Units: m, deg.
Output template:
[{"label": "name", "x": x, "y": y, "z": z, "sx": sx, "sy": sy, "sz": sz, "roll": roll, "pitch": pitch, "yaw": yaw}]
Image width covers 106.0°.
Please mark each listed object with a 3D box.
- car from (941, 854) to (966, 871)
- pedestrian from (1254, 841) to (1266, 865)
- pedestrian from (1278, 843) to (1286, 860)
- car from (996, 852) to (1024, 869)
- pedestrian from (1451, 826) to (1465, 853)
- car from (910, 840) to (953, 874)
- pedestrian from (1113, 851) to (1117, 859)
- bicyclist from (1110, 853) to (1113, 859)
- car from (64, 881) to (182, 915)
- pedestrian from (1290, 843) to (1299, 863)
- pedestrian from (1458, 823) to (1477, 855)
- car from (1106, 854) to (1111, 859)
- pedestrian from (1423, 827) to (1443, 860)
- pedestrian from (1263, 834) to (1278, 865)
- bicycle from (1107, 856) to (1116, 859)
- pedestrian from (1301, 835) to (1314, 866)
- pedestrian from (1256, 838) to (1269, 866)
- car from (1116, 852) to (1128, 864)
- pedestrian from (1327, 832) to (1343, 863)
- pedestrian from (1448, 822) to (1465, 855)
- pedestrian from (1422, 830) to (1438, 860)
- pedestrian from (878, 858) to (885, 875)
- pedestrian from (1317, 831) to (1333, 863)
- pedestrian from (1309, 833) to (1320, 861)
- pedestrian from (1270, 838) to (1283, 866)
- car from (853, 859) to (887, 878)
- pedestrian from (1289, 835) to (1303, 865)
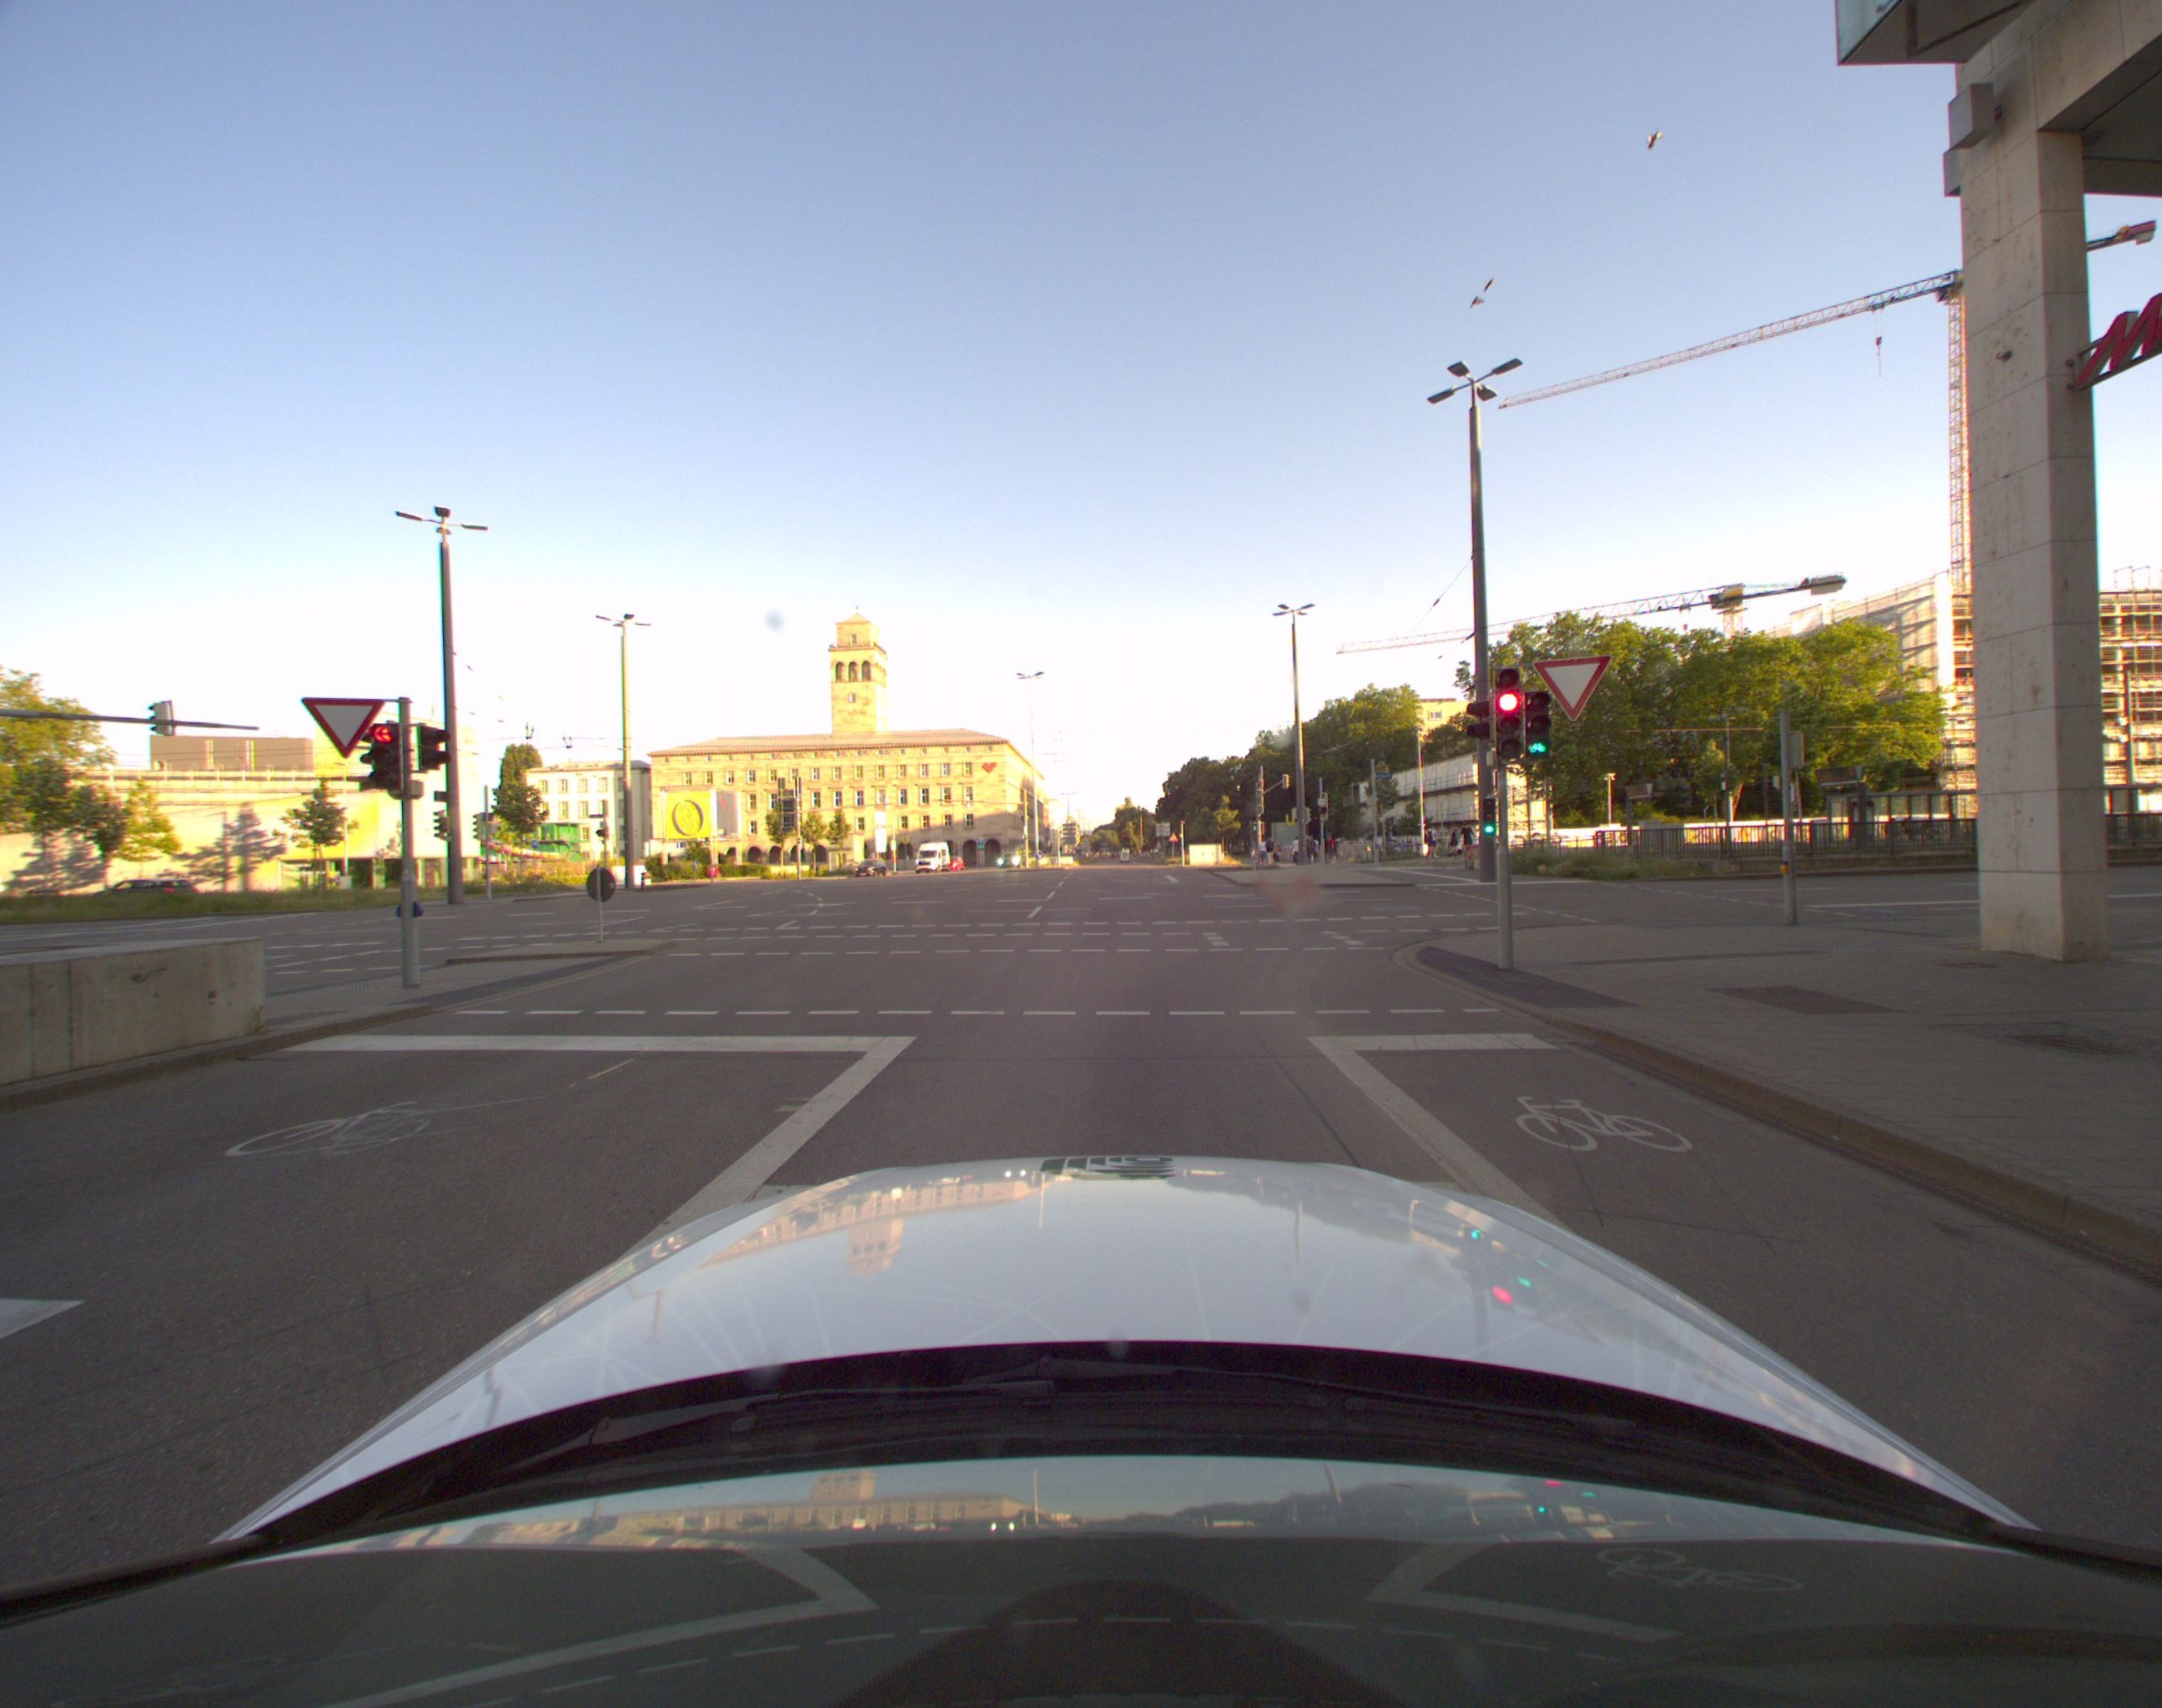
[{"label": "car", "x": -12.758, "y": 0.831, "z": 81.573, "sx": 1.732, "sy": 1.487, "sz": 4.002, "roll": -2, "pitch": 1, "yaw": 2}, {"label": "pedestrian", "x": 13.314, "y": -0.079, "z": 60.454, "sx": 0.673, "sy": 1.757, "sz": 0.907, "roll": -2, "pitch": 1, "yaw": 22}, {"label": "pedestrian", "x": 21.357, "y": -0.286, "z": 86.537, "sx": 0.662, "sy": 1.842, "sz": 0.714, "roll": -2, "pitch": 1, "yaw": 7}, {"label": "car", "x": -6.316, "y": 0.548, "z": 72.830, "sx": 1.815, "sy": 1.341, "sz": 4.005, "roll": -2, "pitch": 1, "yaw": 4}, {"label": "pedestrian", "x": 20.245, "y": -0.792, "z": 43.743, "sx": 0.670, "sy": 1.441, "sz": 0.718, "roll": -2, "pitch": 0, "yaw": 24}, {"label": "car", "x": -13.301, "y": 0.219, "z": 72.935, "sx": 2.269, "sy": 2.776, "sz": 6.090, "roll": -2, "pitch": 0, "yaw": 4}, {"label": "pedestrian", "x": 8.086, "y": 0.215, "z": 194.553, "sx": 0.903, "sy": 1.671, "sz": 1.307, "roll": -2, "pitch": 1, "yaw": 1}, {"label": "bicyclist", "x": 8.283, "y": 0.597, "z": 221.708, "sx": 0.832, "sy": 1.463, "sz": 0.657, "roll": -2, "pitch": 0, "yaw": -17}, {"label": "car", "x": -52.246, "y": 2.375, "z": 44.473, "sx": 4.112, "sy": 1.604, "sz": 1.742, "roll": -2, "pitch": 0, "yaw": -4}, {"label": "pedestrian", "x": 15.552, "y": -0.054, "z": 59.286, "sx": 0.568, "sy": 1.437, "sz": 0.641, "roll": -2, "pitch": 1, "yaw": 13}, {"label": "pedestrian", "x": 21.338, "y": -0.840, "z": 44.968, "sx": 0.708, "sy": 1.725, "sz": 0.668, "roll": -2, "pitch": 0, "yaw": 0}, {"label": "car", "x": 7.880, "y": 0.708, "z": 235.262, "sx": 1.365, "sy": 1.234, "sz": 3.045, "roll": -2, "pitch": 1, "yaw": 0}, {"label": "pedestrian", "x": 18.682, "y": -0.555, "z": 43.234, "sx": 0.671, "sy": 1.725, "sz": 0.705, "roll": -2, "pitch": 0, "yaw": -35}, {"label": "pedestrian", "x": 10.798, "y": -0.272, "z": 46.360, "sx": 0.705, "sy": 1.725, "sz": 0.919, "roll": -2, "pitch": 1, "yaw": 15}, {"label": "bicycle", "x": 8.287, "y": 0.998, "z": 221.687, "sx": 2.608, "sy": 0.959, "sz": 0.511, "roll": 0, "pitch": -1, "yaw": -17}, {"label": "pedestrian", "x": 13.160, "y": -0.196, "z": 47.225, "sx": 0.567, "sy": 1.791, "sz": 0.642, "roll": -2, "pitch": 1, "yaw": 25}, {"label": "pedestrian", "x": 11.454, "y": -0.118, "z": 51.273, "sx": 0.705, "sy": 1.725, "sz": 0.671, "roll": -2, "pitch": 1, "yaw": 15}, {"label": "car", "x": 6.027, "y": 0.573, "z": 118.711, "sx": 1.479, "sy": 1.696, "sz": 2.972, "roll": -2, "pitch": 0, "yaw": -1}, {"label": "pedestrian", "x": 14.395, "y": -0.371, "z": 46.154, "sx": 0.838, "sy": 1.734, "sz": 0.708, "roll": -2, "pitch": 1, "yaw": 15}, {"label": "pedestrian", "x": 19.817, "y": -0.804, "z": 42.982, "sx": 0.705, "sy": 1.725, "sz": 0.672, "roll": -2, "pitch": 0, "yaw": 19}, {"label": "pedestrian", "x": 19.032, "y": -0.481, "z": 44.437, "sx": 0.569, "sy": 1.592, "sz": 0.537, "roll": -2, "pitch": 0, "yaw": 1}, {"label": "pedestrian", "x": -20.846, "y": 1.270, "z": 85.160, "sx": 0.620, "sy": 1.744, "sz": 0.459, "roll": 0, "pitch": -1, "yaw": -4}, {"label": "pedestrian", "x": 14.051, "y": -0.418, "z": 46.904, "sx": 0.799, "sy": 1.791, "sz": 0.804, "roll": -2, "pitch": 1, "yaw": 16}, {"label": "pedestrian", "x": 13.960, "y": -0.410, "z": 48.672, "sx": 0.568, "sy": 1.678, "sz": 0.641, "roll": -2, "pitch": 1, "yaw": 16}, {"label": "pedestrian", "x": 12.266, "y": -0.126, "z": 51.036, "sx": 0.705, "sy": 1.725, "sz": 0.671, "roll": -2, "pitch": 1, "yaw": 15}, {"label": "car", "x": -18.283, "y": 1.216, "z": 70.765, "sx": 1.817, "sy": 1.466, "sz": 4.158, "roll": -2, "pitch": 1, "yaw": 0}, {"label": "pedestrian", "x": 12.770, "y": -0.245, "z": 48.395, "sx": 0.705, "sy": 1.725, "sz": 0.919, "roll": -2, "pitch": 1, "yaw": 16}]
